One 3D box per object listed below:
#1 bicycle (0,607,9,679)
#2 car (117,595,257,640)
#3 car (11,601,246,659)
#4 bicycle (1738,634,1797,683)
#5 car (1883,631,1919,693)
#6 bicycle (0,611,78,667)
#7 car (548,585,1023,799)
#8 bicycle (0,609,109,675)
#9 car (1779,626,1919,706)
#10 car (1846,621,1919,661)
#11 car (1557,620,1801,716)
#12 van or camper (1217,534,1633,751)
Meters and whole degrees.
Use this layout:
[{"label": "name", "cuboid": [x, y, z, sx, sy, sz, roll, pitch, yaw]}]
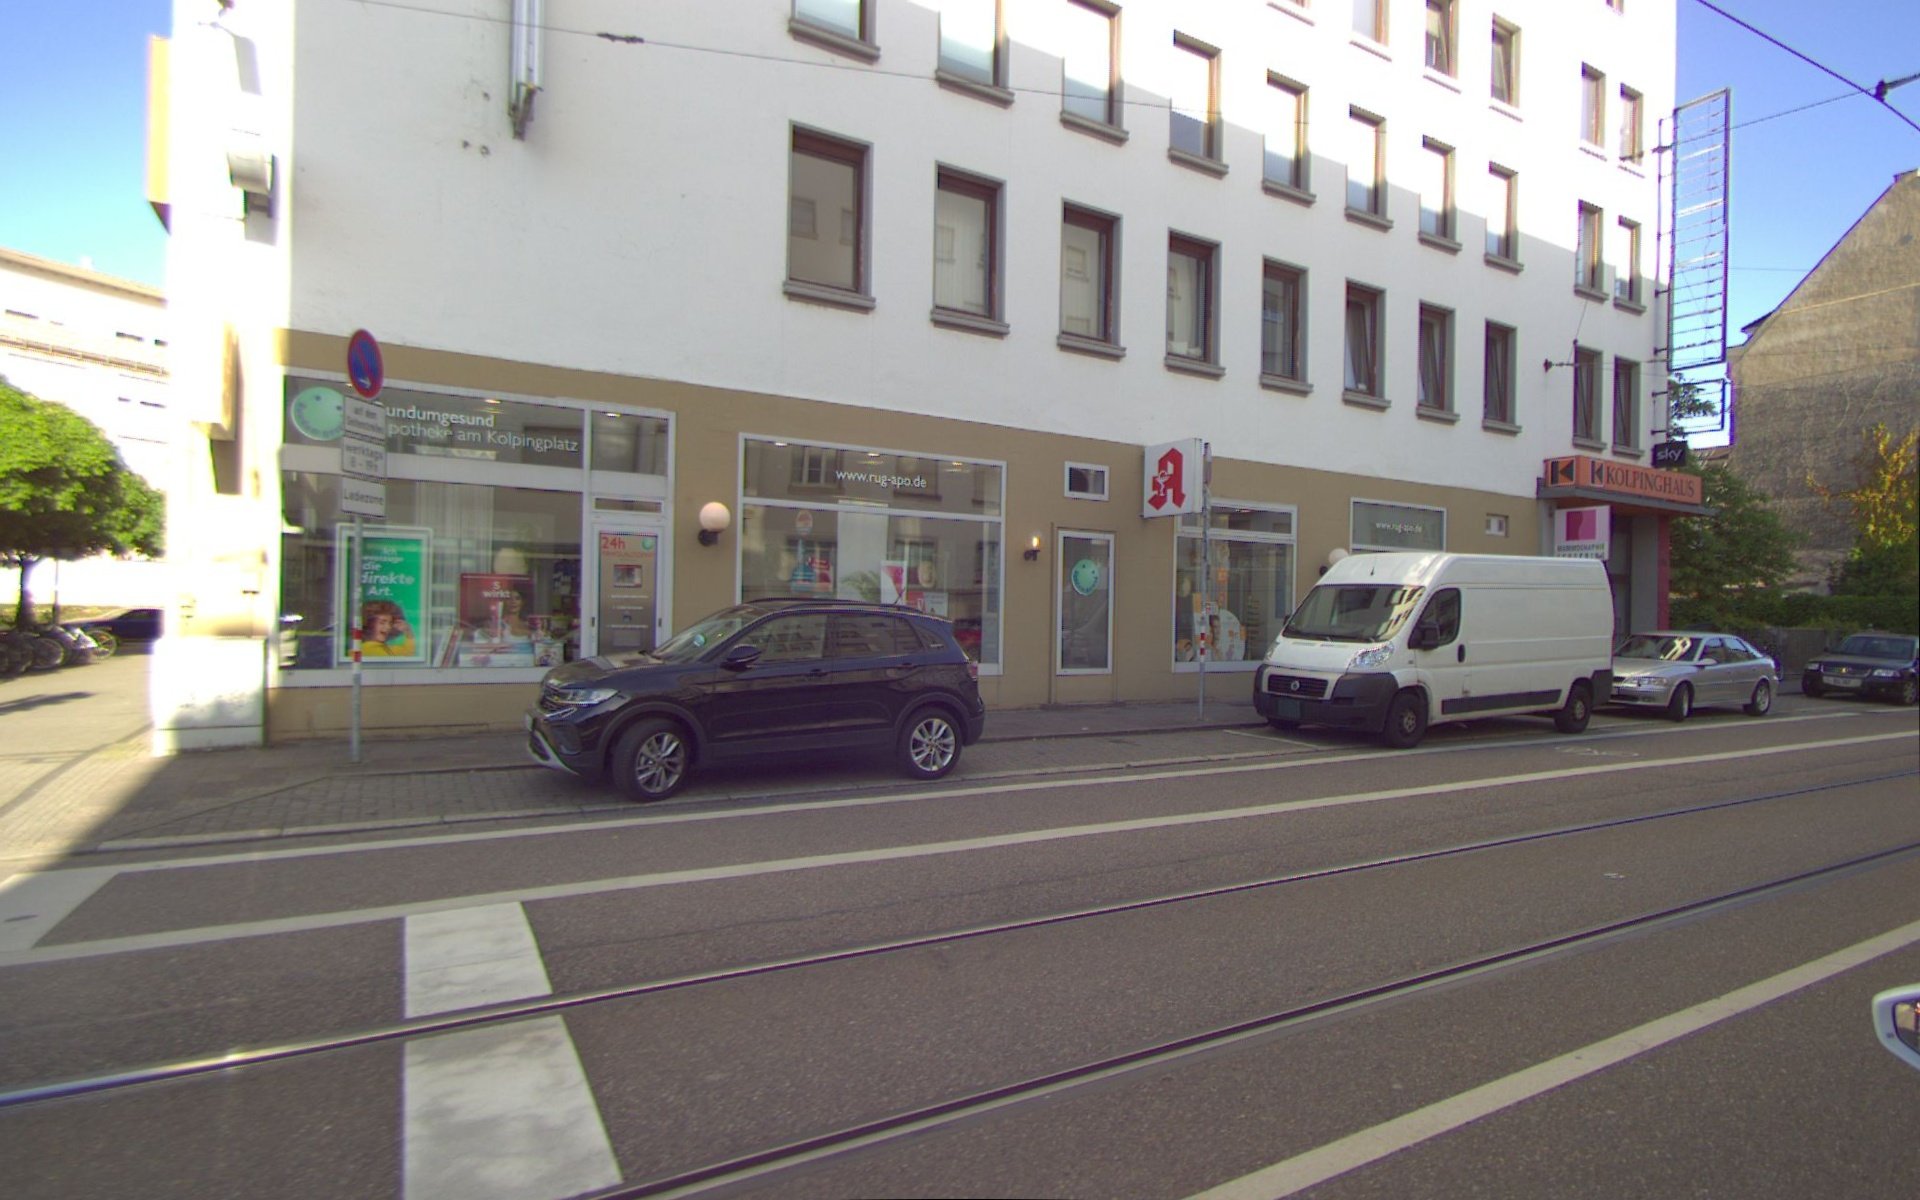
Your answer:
[{"label": "bicycle", "cuboid": [-16.387, 0.662, 15.479, 2.409, 1.140, 0.623, 2, -1, -31]}, {"label": "car", "cuboid": [-29.289, 0.666, 38.252, 1.756, 1.606, 4.371, 1, -1, 3]}, {"label": "car", "cuboid": [-19.250, 0.704, 23.506, 3.953, 1.247, 1.724, 2, -1, -30]}, {"label": "bicycle", "cuboid": [20.802, 1.503, 25.863, 2.026, 1.190, 0.437, 2, 0, -30]}, {"label": "car", "cuboid": [25.237, 1.582, 25.150, 4.785, 1.465, 1.774, 2, 1, -30]}, {"label": "bicycle", "cuboid": [-18.578, 0.741, 19.417, 2.207, 1.063, 0.622, 2, -1, -34]}, {"label": "car", "cuboid": [-1.576, 0.736, 9.299, 3.944, 1.573, 1.775, 2, 1, -29]}, {"label": "bicycle", "cuboid": [-16.786, 0.737, 17.878, 2.412, 1.140, 0.622, 2, -1, -34]}, {"label": "car", "cuboid": [20.000, 1.397, 21.943, 4.646, 1.501, 1.774, 2, 1, -31]}, {"label": "car", "cuboid": [38.998, 1.692, 40.347, 4.708, 1.538, 1.998, 1, 0, 27]}, {"label": "car", "cuboid": [12.739, 1.154, 17.756, 4.391, 1.417, 1.775, 2, 1, -29]}, {"label": "van or camper", "cuboid": [6.645, 0.530, 14.073, 6.161, 2.500, 2.160, 2, 1, -31]}]
